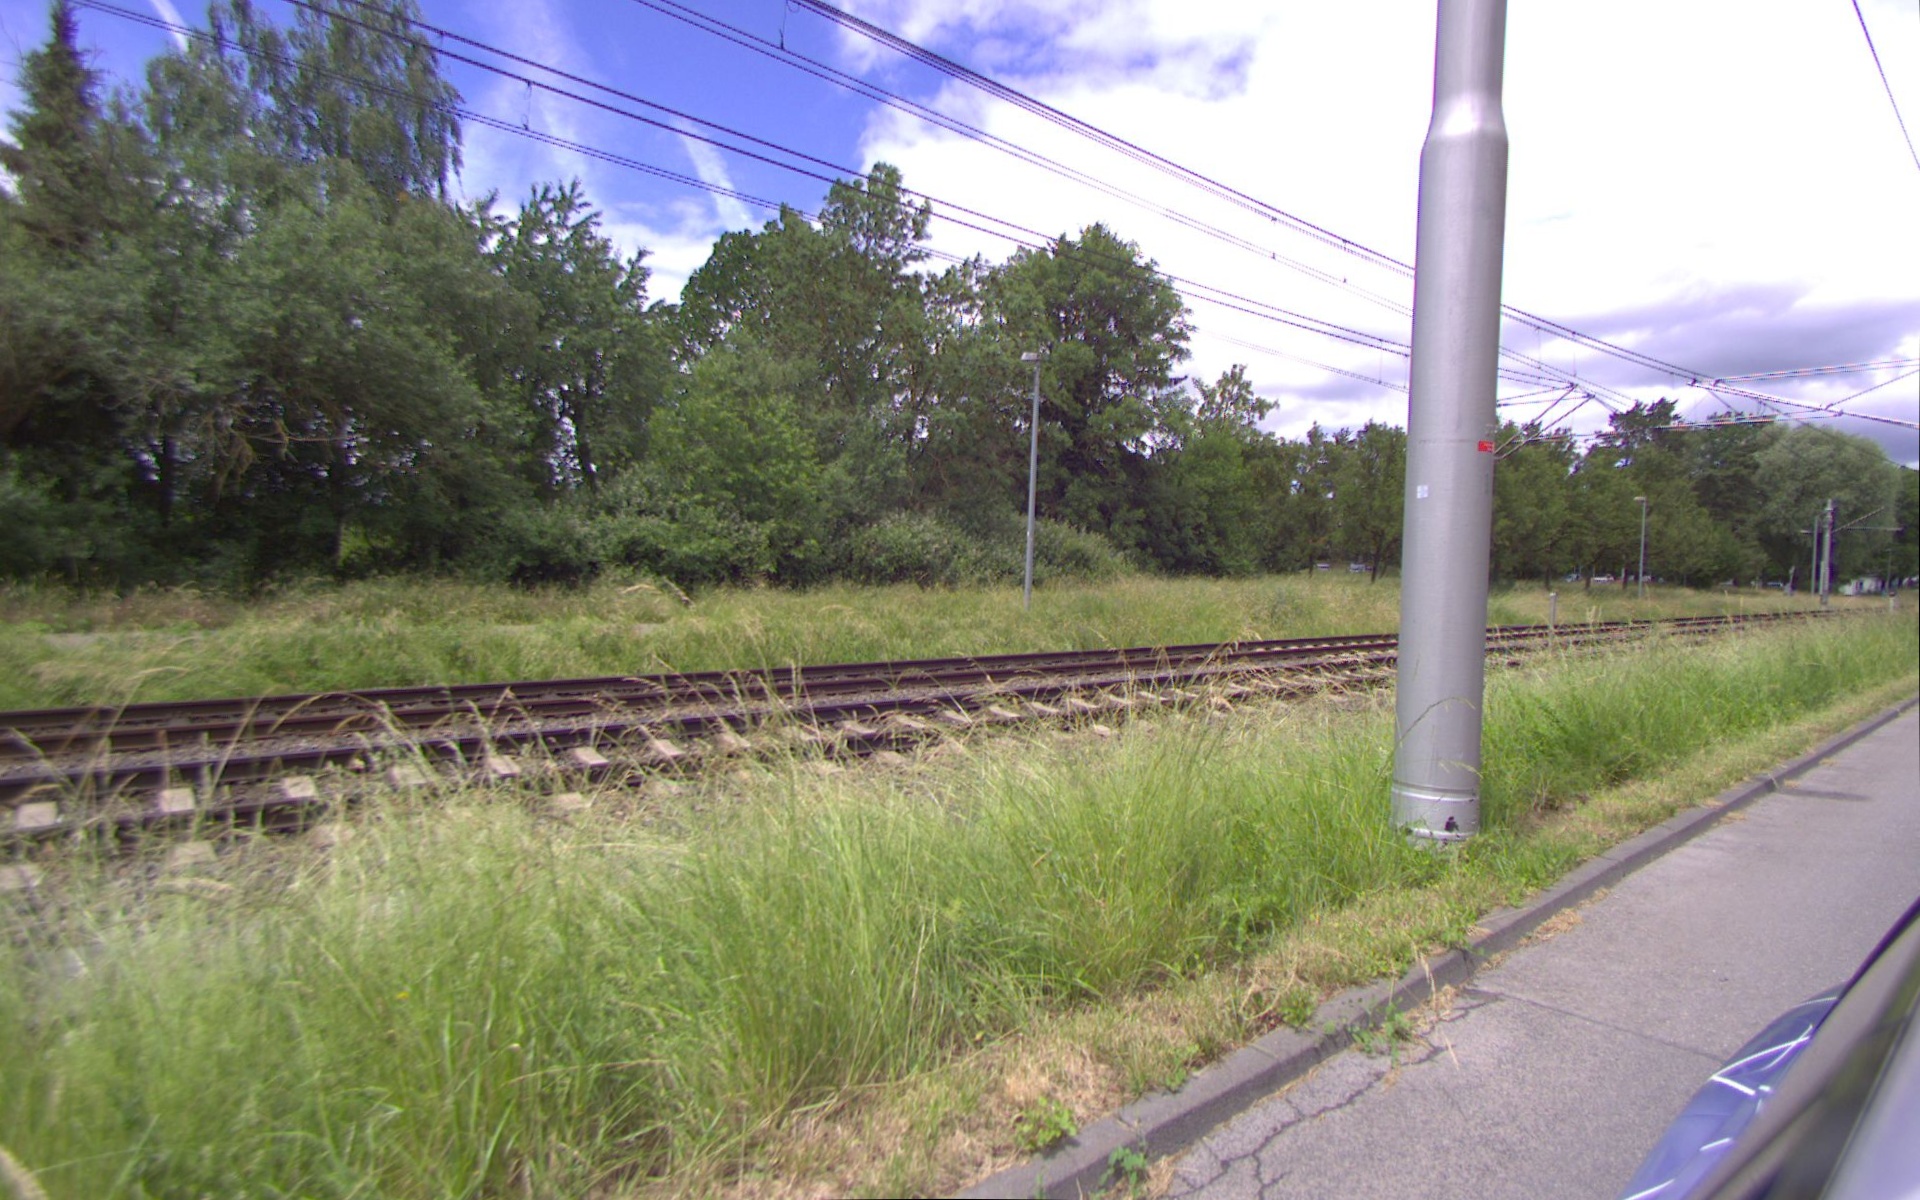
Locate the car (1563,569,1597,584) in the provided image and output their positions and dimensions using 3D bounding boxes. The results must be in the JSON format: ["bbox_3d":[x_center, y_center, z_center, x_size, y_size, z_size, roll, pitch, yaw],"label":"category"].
[{"bbox_3d":[70.837,-2.670,115.617,3.927,1.721,1.999,0,2,-39],"label":"car"}]

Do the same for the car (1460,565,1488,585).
[{"bbox_3d":[49.566,-2.434,97.636,1.740,1.825,3.947,3,2,37],"label":"car"}]

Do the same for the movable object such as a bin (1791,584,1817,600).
[{"bbox_3d":[71.660,-0.660,85.912,1.612,1.326,0.660,1,2,1],"label":"movable object such as a bin"}]

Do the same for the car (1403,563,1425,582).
[{"bbox_3d":[45.409,-2.745,101.238,1.979,1.834,3.968,2,2,24],"label":"car"}]

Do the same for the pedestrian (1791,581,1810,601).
[{"bbox_3d":[71.360,-0.772,85.912,0.940,1.687,0.658,1,2,1],"label":"pedestrian"}]
